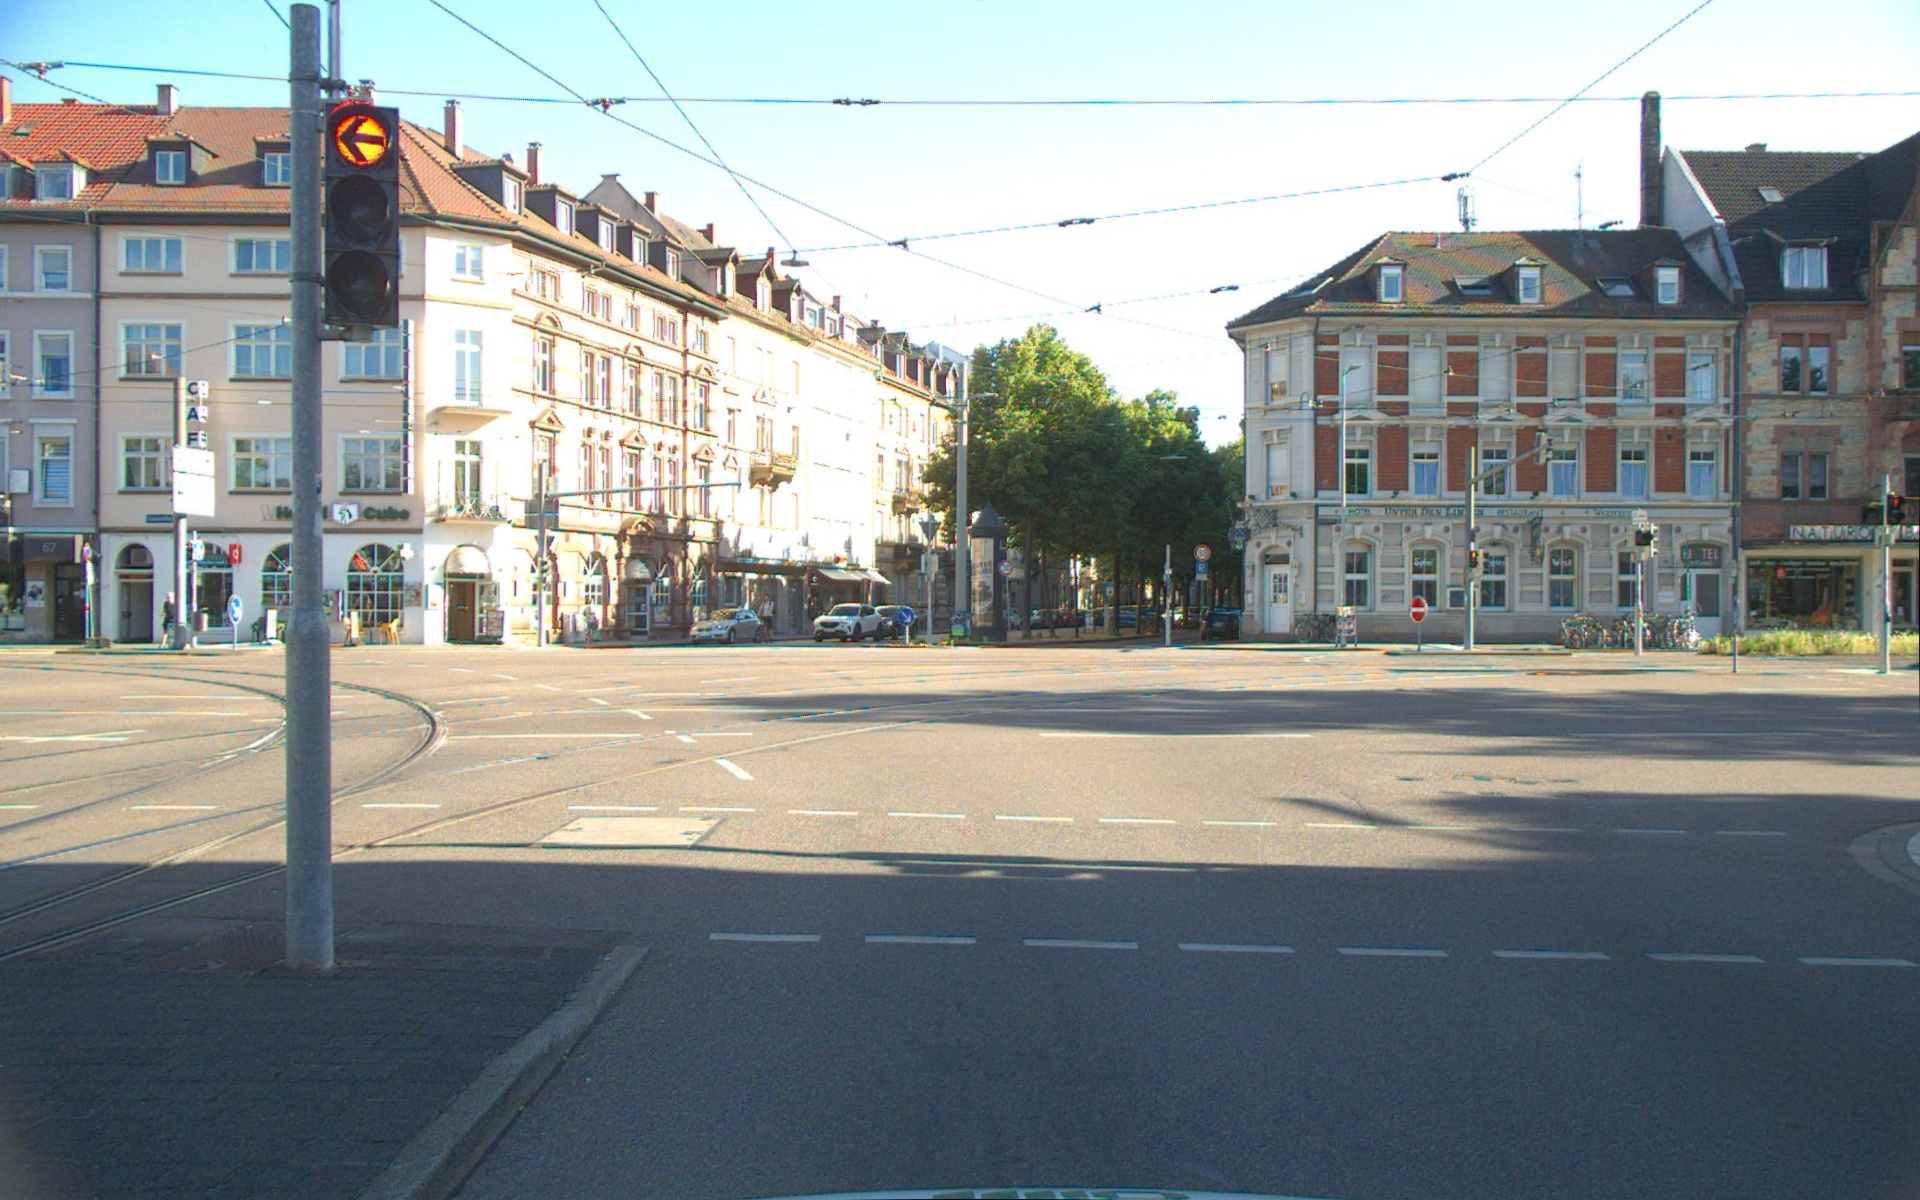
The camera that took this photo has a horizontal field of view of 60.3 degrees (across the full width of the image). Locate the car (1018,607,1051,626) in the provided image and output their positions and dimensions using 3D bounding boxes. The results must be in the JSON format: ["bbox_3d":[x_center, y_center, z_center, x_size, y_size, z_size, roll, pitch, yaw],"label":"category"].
[{"bbox_3d":[5.528,1.194,122.507,1.642,1.378,3.593,0,0,16],"label":"car"}]

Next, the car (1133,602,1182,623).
[{"bbox_3d":[15.314,0.960,128.253,3.503,1.677,1.684,0,0,16],"label":"car"}]

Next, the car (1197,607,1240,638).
[{"bbox_3d":[12.957,1.108,82.755,1.642,1.509,3.950,0,0,16],"label":"car"}]

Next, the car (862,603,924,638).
[{"bbox_3d":[-2.949,0.887,73.556,1.642,1.509,3.950,0,0,16],"label":"car"}]

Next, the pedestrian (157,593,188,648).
[{"bbox_3d":[-24.741,0.630,51.959,0.570,1.699,0.752,1,-1,-1],"label":"pedestrian"}]

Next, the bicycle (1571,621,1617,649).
[{"bbox_3d":[20.482,1.124,53.462,0.645,0.855,2.160,1,0,0],"label":"bicycle"}]

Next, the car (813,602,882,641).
[{"bbox_3d":[-4.535,0.843,67.231,1.642,1.509,3.774,0,0,16],"label":"car"}]

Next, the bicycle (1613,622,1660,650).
[{"bbox_3d":[21.864,1.148,53.509,0.645,0.855,2.160,1,0,0],"label":"bicycle"}]

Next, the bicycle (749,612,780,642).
[{"bbox_3d":[-7.681,1.046,65.131,0.687,1.137,1.636,1,0,13],"label":"bicycle"}]

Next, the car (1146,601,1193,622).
[{"bbox_3d":[16.935,0.886,133.753,3.503,1.677,1.684,0,0,16],"label":"car"}]

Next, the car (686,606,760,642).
[{"bbox_3d":[-9.540,0.933,66.749,1.642,1.378,3.593,0,0,16],"label":"car"}]

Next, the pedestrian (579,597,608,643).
[{"bbox_3d":[-13.901,0.760,62.747,0.759,1.699,0.831,1,-1,15],"label":"pedestrian"}]

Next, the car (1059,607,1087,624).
[{"bbox_3d":[9.311,1.251,135.901,1.642,1.378,3.593,0,0,16],"label":"car"}]

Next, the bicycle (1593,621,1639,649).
[{"bbox_3d":[21.194,1.136,53.475,0.645,0.855,2.160,1,0,0],"label":"bicycle"}]

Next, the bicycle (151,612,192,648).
[{"bbox_3d":[-24.746,0.928,51.929,0.561,1.096,1.497,1,0,-1],"label":"bicycle"}]

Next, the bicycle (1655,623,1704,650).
[{"bbox_3d":[23.281,1.173,53.534,0.645,0.855,2.160,1,0,0],"label":"bicycle"}]

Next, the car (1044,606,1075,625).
[{"bbox_3d":[7.886,1.214,130.849,1.642,1.378,3.593,0,0,16],"label":"car"}]

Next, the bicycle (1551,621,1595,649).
[{"bbox_3d":[19.762,1.111,53.374,0.645,0.855,2.160,1,0,0],"label":"bicycle"}]

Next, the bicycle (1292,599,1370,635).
[{"bbox_3d":[12.867,0.592,57.463,2.504,1.194,0.818,1,-1,-4],"label":"bicycle"}]

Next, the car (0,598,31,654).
[{"bbox_3d":[-32.151,0.787,52.259,4.276,1.741,2.306,1,0,1],"label":"car"}]

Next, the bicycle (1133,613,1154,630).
[{"bbox_3d":[11.049,1.297,99.633,0.625,1.039,1.840,1,0,-14],"label":"bicycle"}]

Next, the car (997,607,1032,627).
[{"bbox_3d":[3.817,1.158,115.520,1.642,1.378,3.593,0,0,16],"label":"car"}]

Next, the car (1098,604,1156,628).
[{"bbox_3d":[11.710,1.117,115.840,3.819,1.677,1.684,0,0,16],"label":"car"}]

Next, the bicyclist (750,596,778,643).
[{"bbox_3d":[-7.714,0.766,65.008,0.761,1.834,1.056,1,-1,13],"label":"bicyclist"}]

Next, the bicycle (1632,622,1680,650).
[{"bbox_3d":[22.492,1.159,53.488,0.645,0.855,2.160,1,0,0],"label":"bicycle"}]
